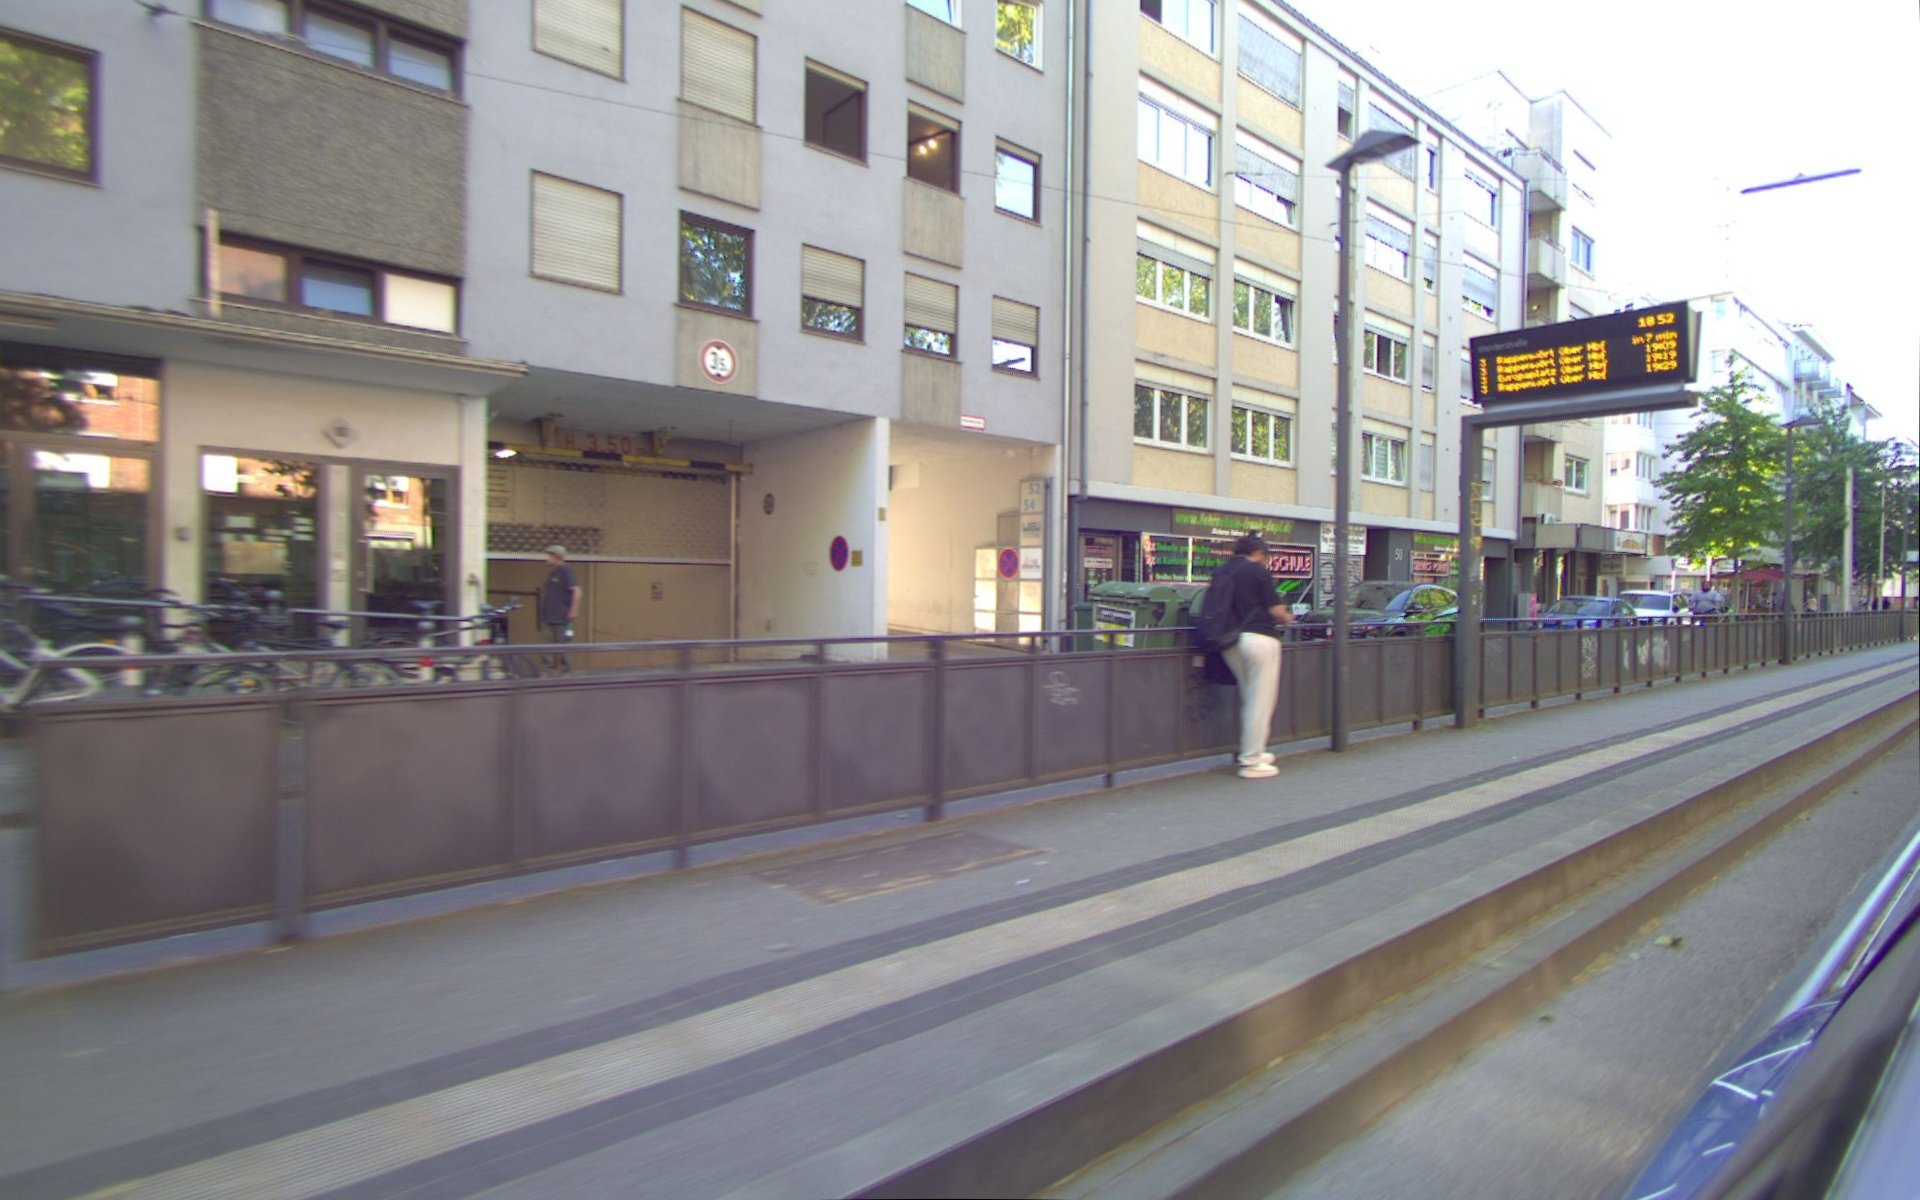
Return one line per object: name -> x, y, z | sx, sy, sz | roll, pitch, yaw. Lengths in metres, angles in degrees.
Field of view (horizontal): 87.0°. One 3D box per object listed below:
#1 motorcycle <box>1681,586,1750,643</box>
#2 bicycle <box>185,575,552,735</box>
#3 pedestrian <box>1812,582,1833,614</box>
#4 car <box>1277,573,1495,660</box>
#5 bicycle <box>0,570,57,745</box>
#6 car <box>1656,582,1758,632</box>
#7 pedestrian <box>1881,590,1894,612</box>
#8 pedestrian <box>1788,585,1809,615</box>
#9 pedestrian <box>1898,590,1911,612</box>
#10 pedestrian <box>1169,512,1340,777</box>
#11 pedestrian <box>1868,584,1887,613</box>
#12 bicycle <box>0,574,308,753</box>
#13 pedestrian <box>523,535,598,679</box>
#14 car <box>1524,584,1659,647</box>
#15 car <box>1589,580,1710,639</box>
motorcycle -> 20.317, 0.356, 27.202 | 2.170, 1.473, 1.054 | -1, 0, -41
bicycle -> -5.253, 0.446, 9.198 | 0.772, 1.194, 2.738 | 8, 5, 44
pedestrian -> 46.123, -0.122, 54.132 | 0.954, 1.675, 0.751 | 0, 0, -42
car -> 8.308, 0.270, 19.582 | 4.576, 1.502, 1.957 | -1, 0, -39
bicycle -> -7.874, 0.391, 6.722 | 0.772, 1.194, 2.738 | 8, 5, 44
car -> 25.405, 0.206, 34.386 | 3.930, 1.612, 1.997 | -1, 0, -41
pedestrian -> 70.359, 0.065, 76.785 | 0.823, 1.675, 0.684 | 0, 0, -42
pedestrian -> 46.528, -0.005, 56.164 | 0.954, 1.675, 0.751 | 0, 0, -42
pedestrian -> 71.026, 0.068, 76.101 | 0.823, 1.675, 0.684 | 0, 0, -42
pedestrian -> 1.904, 0.263, 6.577 | 0.836, 1.596, 0.650 | 0, 0, -23
pedestrian -> 53.867, -0.070, 59.399 | 0.954, 1.675, 0.751 | 0, 0, -42
bicycle -> -6.649, 0.445, 7.665 | 0.772, 1.194, 2.738 | 8, 5, 44
pedestrian -> -5.256, 0.085, 13.364 | 0.667, 1.827, 0.773 | -1, 1, -2
car -> 16.369, 0.356, 26.187 | 3.930, 1.505, 1.897 | -1, 0, -41
car -> 20.183, 0.228, 29.581 | 3.930, 1.601, 1.997 | -1, 0, -41
